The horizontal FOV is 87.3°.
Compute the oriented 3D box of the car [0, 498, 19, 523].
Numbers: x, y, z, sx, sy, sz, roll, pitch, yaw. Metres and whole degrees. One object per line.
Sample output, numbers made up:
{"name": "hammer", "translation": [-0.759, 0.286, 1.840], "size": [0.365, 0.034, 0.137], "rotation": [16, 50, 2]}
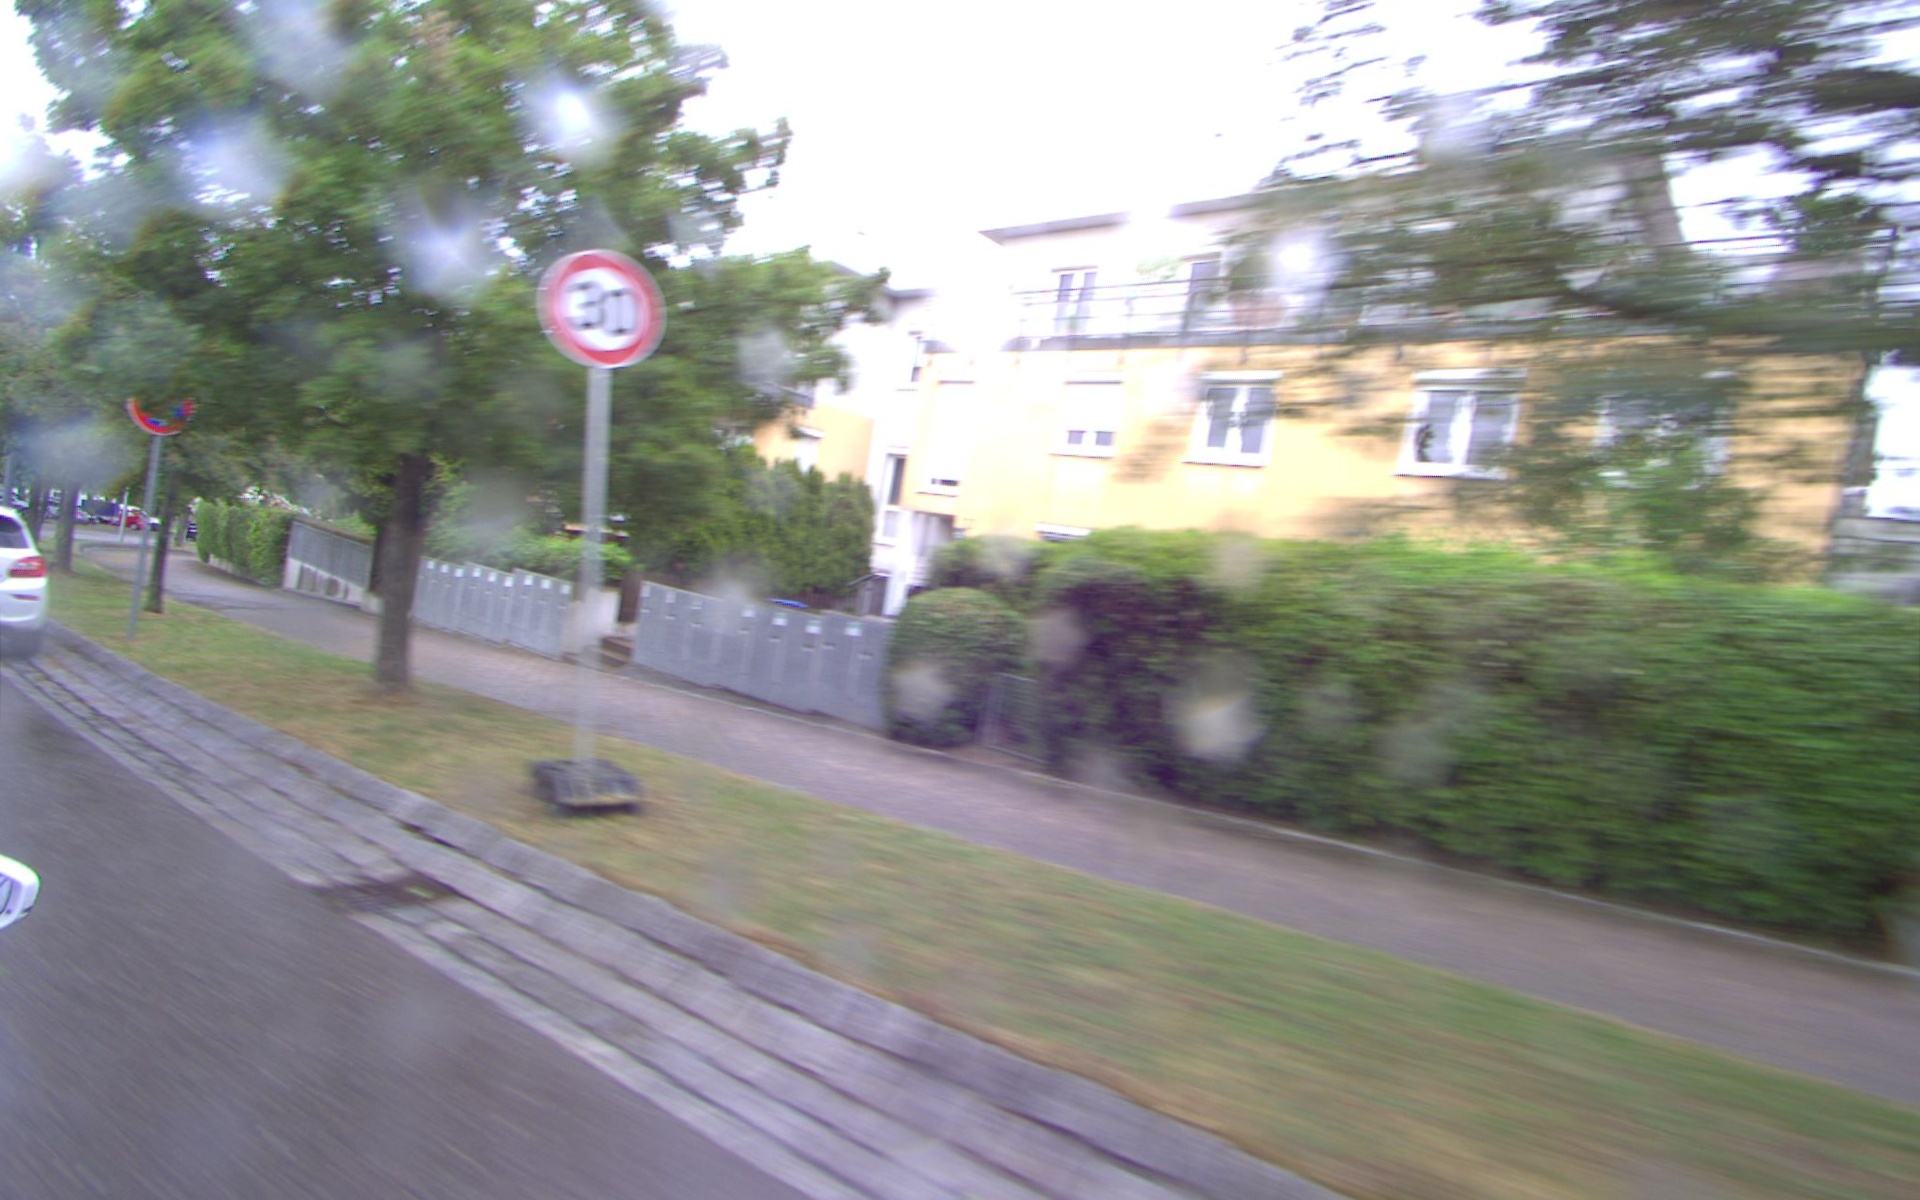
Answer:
{"name": "car", "translation": [-59.333, -5.655, 60.108], "size": [4.135, 1.371, 1.847], "rotation": [8, -1, -31]}

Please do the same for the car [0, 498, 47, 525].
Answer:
{"name": "car", "translation": [-59.696, -5.654, 62.563], "size": [3.958, 1.377, 1.839], "rotation": [8, -1, -31]}

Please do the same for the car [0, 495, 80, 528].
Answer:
{"name": "car", "translation": [-63.433, -6.080, 69.264], "size": [3.845, 1.565, 1.759], "rotation": [9, -2, -32]}

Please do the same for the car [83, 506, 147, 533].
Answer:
{"name": "car", "translation": [-68.650, -6.519, 81.802], "size": [3.532, 1.625, 1.681], "rotation": [8, -1, -28]}

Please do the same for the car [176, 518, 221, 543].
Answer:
{"name": "car", "translation": [-59.765, -5.415, 79.000], "size": [1.670, 1.570, 3.678], "rotation": [10, -1, -21]}

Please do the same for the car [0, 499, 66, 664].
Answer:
{"name": "car", "translation": [-10.736, -0.377, 10.327], "size": [3.671, 1.519, 1.606], "rotation": [6, -3, 39]}
